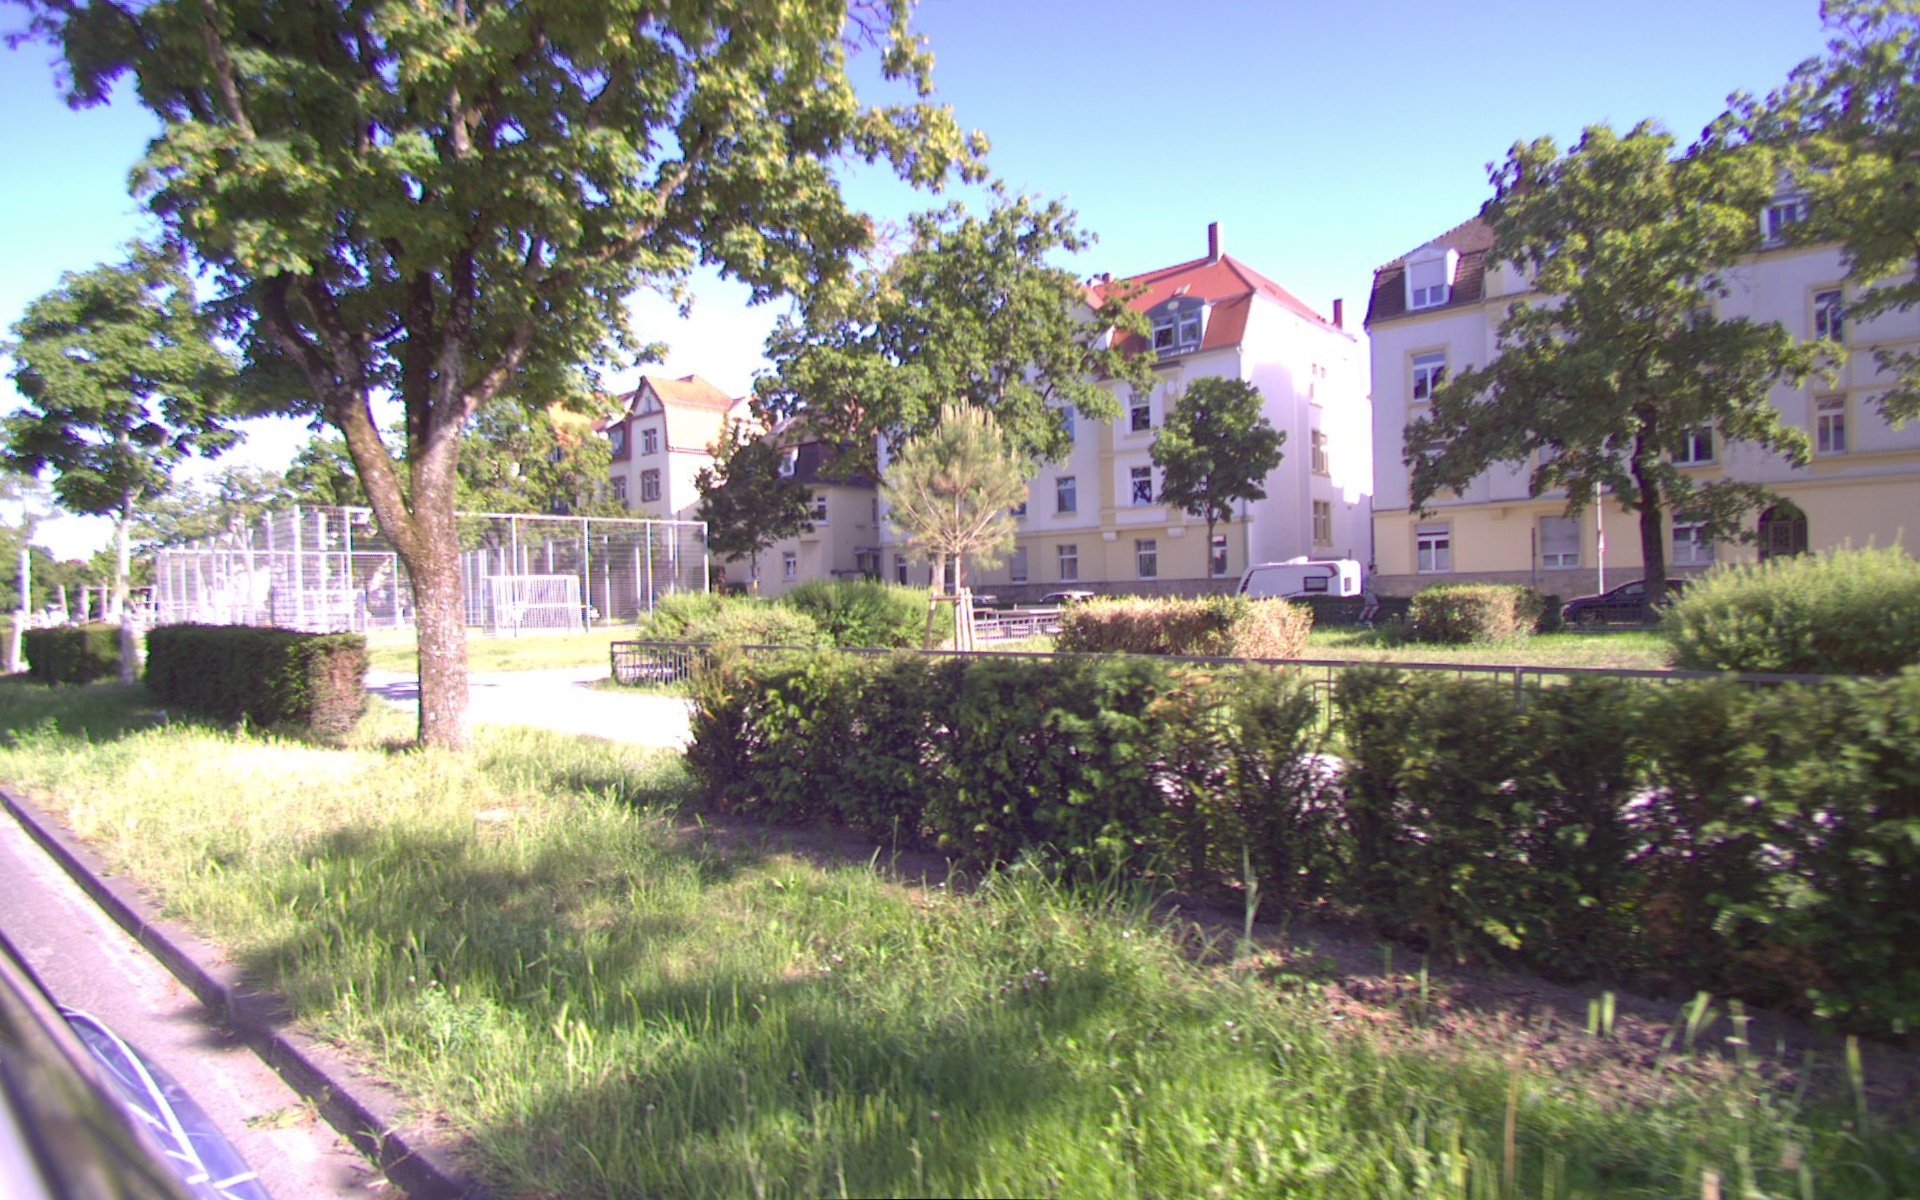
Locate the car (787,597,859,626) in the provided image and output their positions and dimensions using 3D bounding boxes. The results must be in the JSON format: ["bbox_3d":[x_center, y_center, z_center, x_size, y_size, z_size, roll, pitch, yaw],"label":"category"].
[{"bbox_3d":[-7.899,0.683,58.158,4.229,1.521,1.776,-2,0,41],"label":"car"}]

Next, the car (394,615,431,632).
[{"bbox_3d":[-51.750,2.218,95.646,3.997,1.566,1.776,-2,0,41],"label":"car"}]

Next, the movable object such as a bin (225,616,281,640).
[{"bbox_3d":[-39.010,1.558,55.856,1.054,1.251,2.309,-2,-1,37],"label":"movable object such as a bin"}]

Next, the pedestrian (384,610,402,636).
[{"bbox_3d":[-29.062,1.174,51.886,0.639,1.328,0.652,-2,0,-20],"label":"pedestrian"}]

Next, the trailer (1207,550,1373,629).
[{"bbox_3d":[13.012,-0.377,40.150,5.798,2.892,2.319,-2,0,40],"label":"trailer"}]

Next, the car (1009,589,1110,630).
[{"bbox_3d":[4.616,0.460,47.392,4.486,1.790,1.776,-2,0,41],"label":"car"}]

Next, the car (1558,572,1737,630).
[{"bbox_3d":[21.841,0.059,32.255,4.496,1.745,1.775,-2,0,41],"label":"car"}]

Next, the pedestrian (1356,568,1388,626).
[{"bbox_3d":[12.065,-0.089,29.642,0.650,1.674,0.641,-1,-1,41],"label":"pedestrian"}]

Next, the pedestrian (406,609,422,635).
[{"bbox_3d":[-28.339,1.127,52.540,0.639,1.328,0.652,-2,0,-20],"label":"pedestrian"}]

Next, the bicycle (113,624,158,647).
[{"bbox_3d":[-43.324,1.861,53.189,0.499,1.116,1.777,-2,0,39],"label":"bicycle"}]
